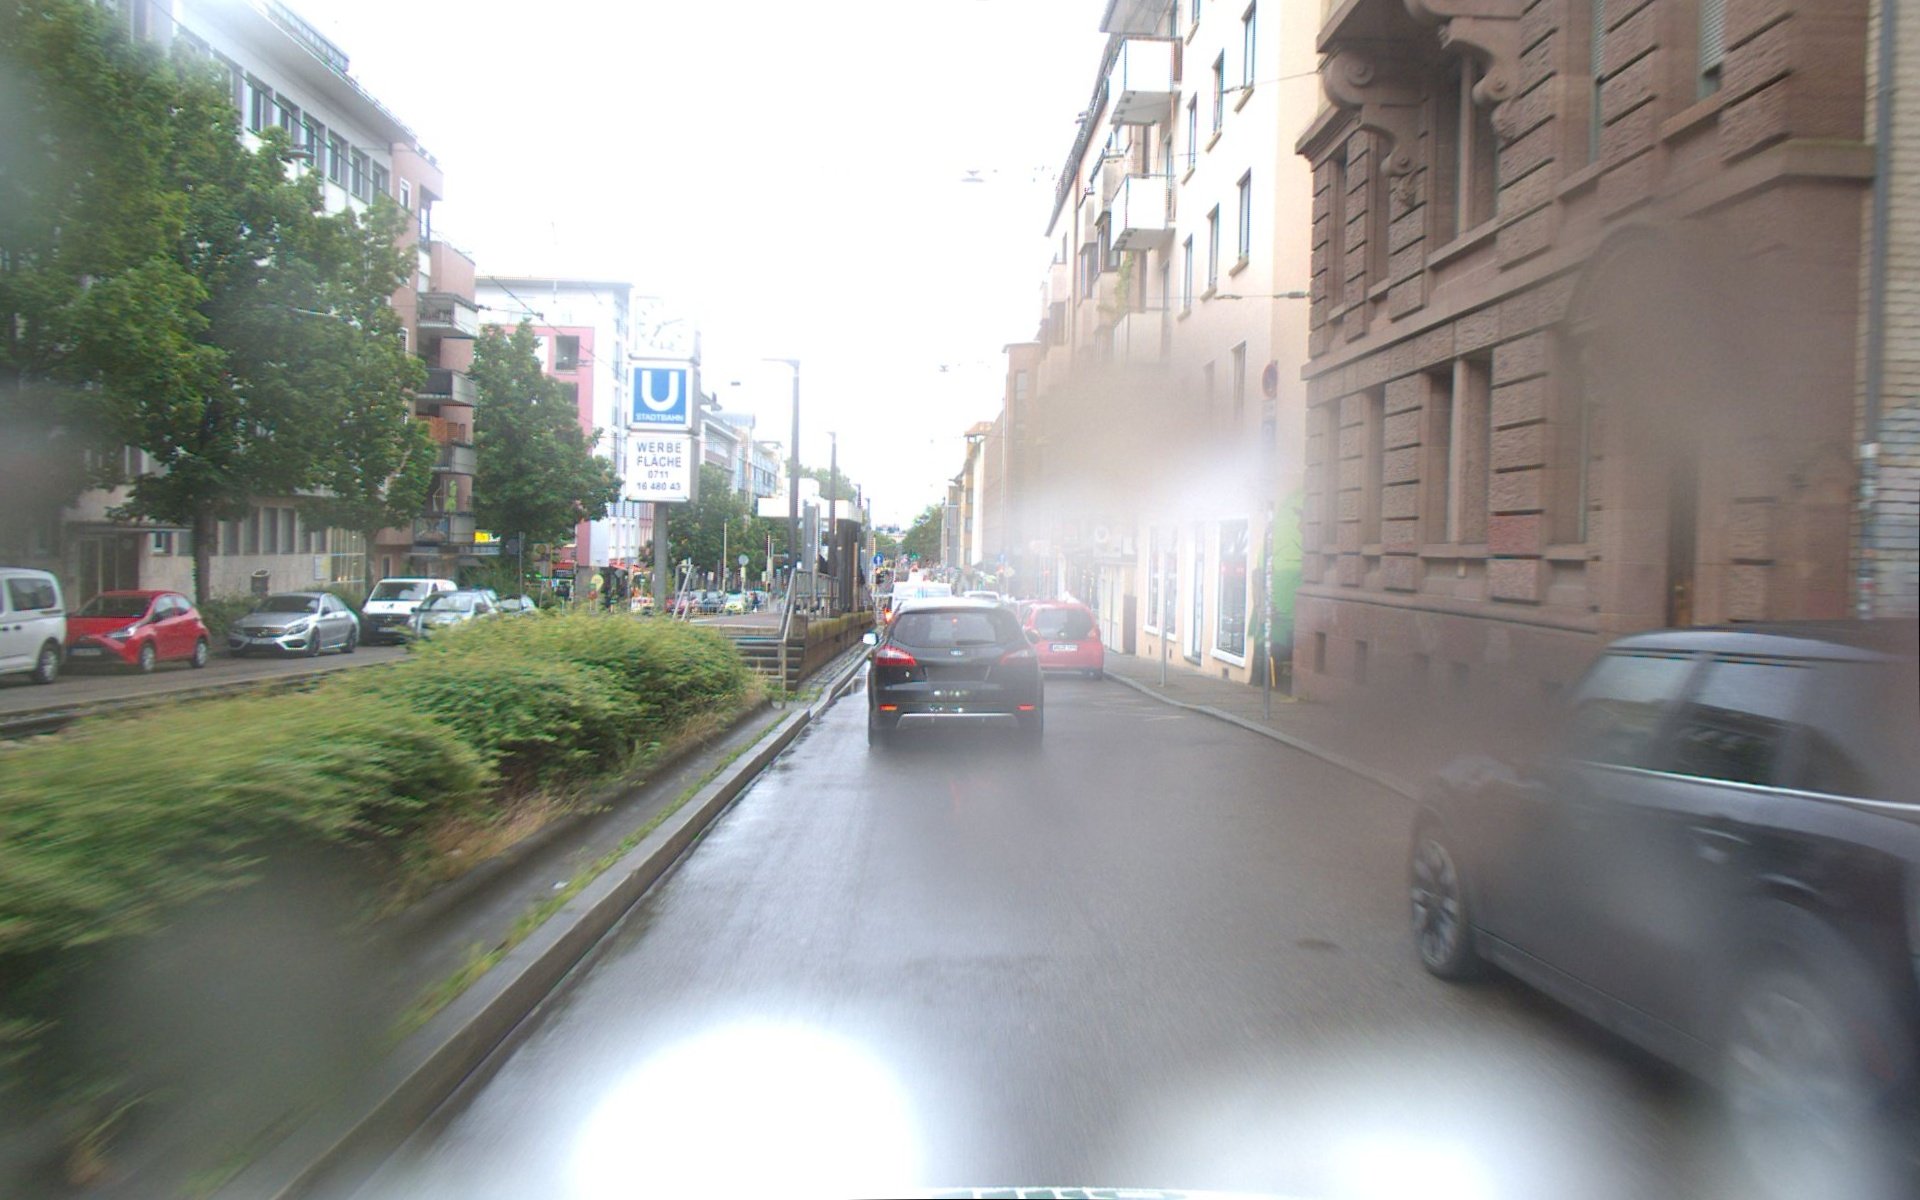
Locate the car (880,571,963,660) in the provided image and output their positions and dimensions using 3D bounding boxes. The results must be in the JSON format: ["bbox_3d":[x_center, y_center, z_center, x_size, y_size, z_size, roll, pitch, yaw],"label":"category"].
[{"bbox_3d":[-0.999,0.349,42.005,1.948,2.096,4.643,1,1,-2],"label":"car"}]

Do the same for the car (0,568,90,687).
[{"bbox_3d":[-14.897,0.386,24.369,1.818,1.731,4.429,2,-1,-1],"label":"car"}]

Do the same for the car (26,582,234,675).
[{"bbox_3d":[-15.196,0.530,30.533,1.818,1.553,4.044,2,-1,-1],"label":"car"}]

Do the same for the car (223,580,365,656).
[{"bbox_3d":[-15.116,0.425,37.748,1.634,1.585,4.044,2,-1,-1],"label":"car"}]

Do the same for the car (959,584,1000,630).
[{"bbox_3d":[0.825,0.313,71.393,1.559,1.812,3.777,3,-2,-1],"label":"car"}]

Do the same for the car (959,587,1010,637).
[{"bbox_3d":[0.931,0.490,65.715,1.802,1.812,3.777,3,-2,-1],"label":"car"}]

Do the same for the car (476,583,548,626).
[{"bbox_3d":[-16.003,0.184,59.302,1.519,1.419,4.044,2,-1,-1],"label":"car"}]

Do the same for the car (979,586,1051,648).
[{"bbox_3d":[1.566,0.526,48.000,1.820,1.613,3.777,3,-2,-1],"label":"car"}]

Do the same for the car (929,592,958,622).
[{"bbox_3d":[-1.219,0.525,121.051,1.953,2.049,3.998,3,-2,-1],"label":"car"}]

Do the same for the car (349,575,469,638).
[{"bbox_3d":[-15.641,0.223,47.204,1.818,1.665,4.933,2,-1,-1],"label":"car"}]

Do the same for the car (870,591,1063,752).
[{"bbox_3d":[-0.040,0.689,17.742,1.806,1.533,3.997,0,0,-4],"label":"car"}]

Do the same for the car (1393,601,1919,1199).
[{"bbox_3d":[2.748,0.753,5.345,1.545,1.485,3.819,1,0,-3],"label":"car"}]

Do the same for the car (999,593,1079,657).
[{"bbox_3d":[1.844,0.566,39.437,1.637,1.446,3.475,1,0,-2],"label":"car"}]

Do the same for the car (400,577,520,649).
[{"bbox_3d":[-12.600,0.353,41.922,1.818,1.665,4.044,2,-1,-1],"label":"car"}]

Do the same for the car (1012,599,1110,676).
[{"bbox_3d":[1.970,0.709,33.091,1.637,1.446,3.475,1,0,-2],"label":"car"}]
